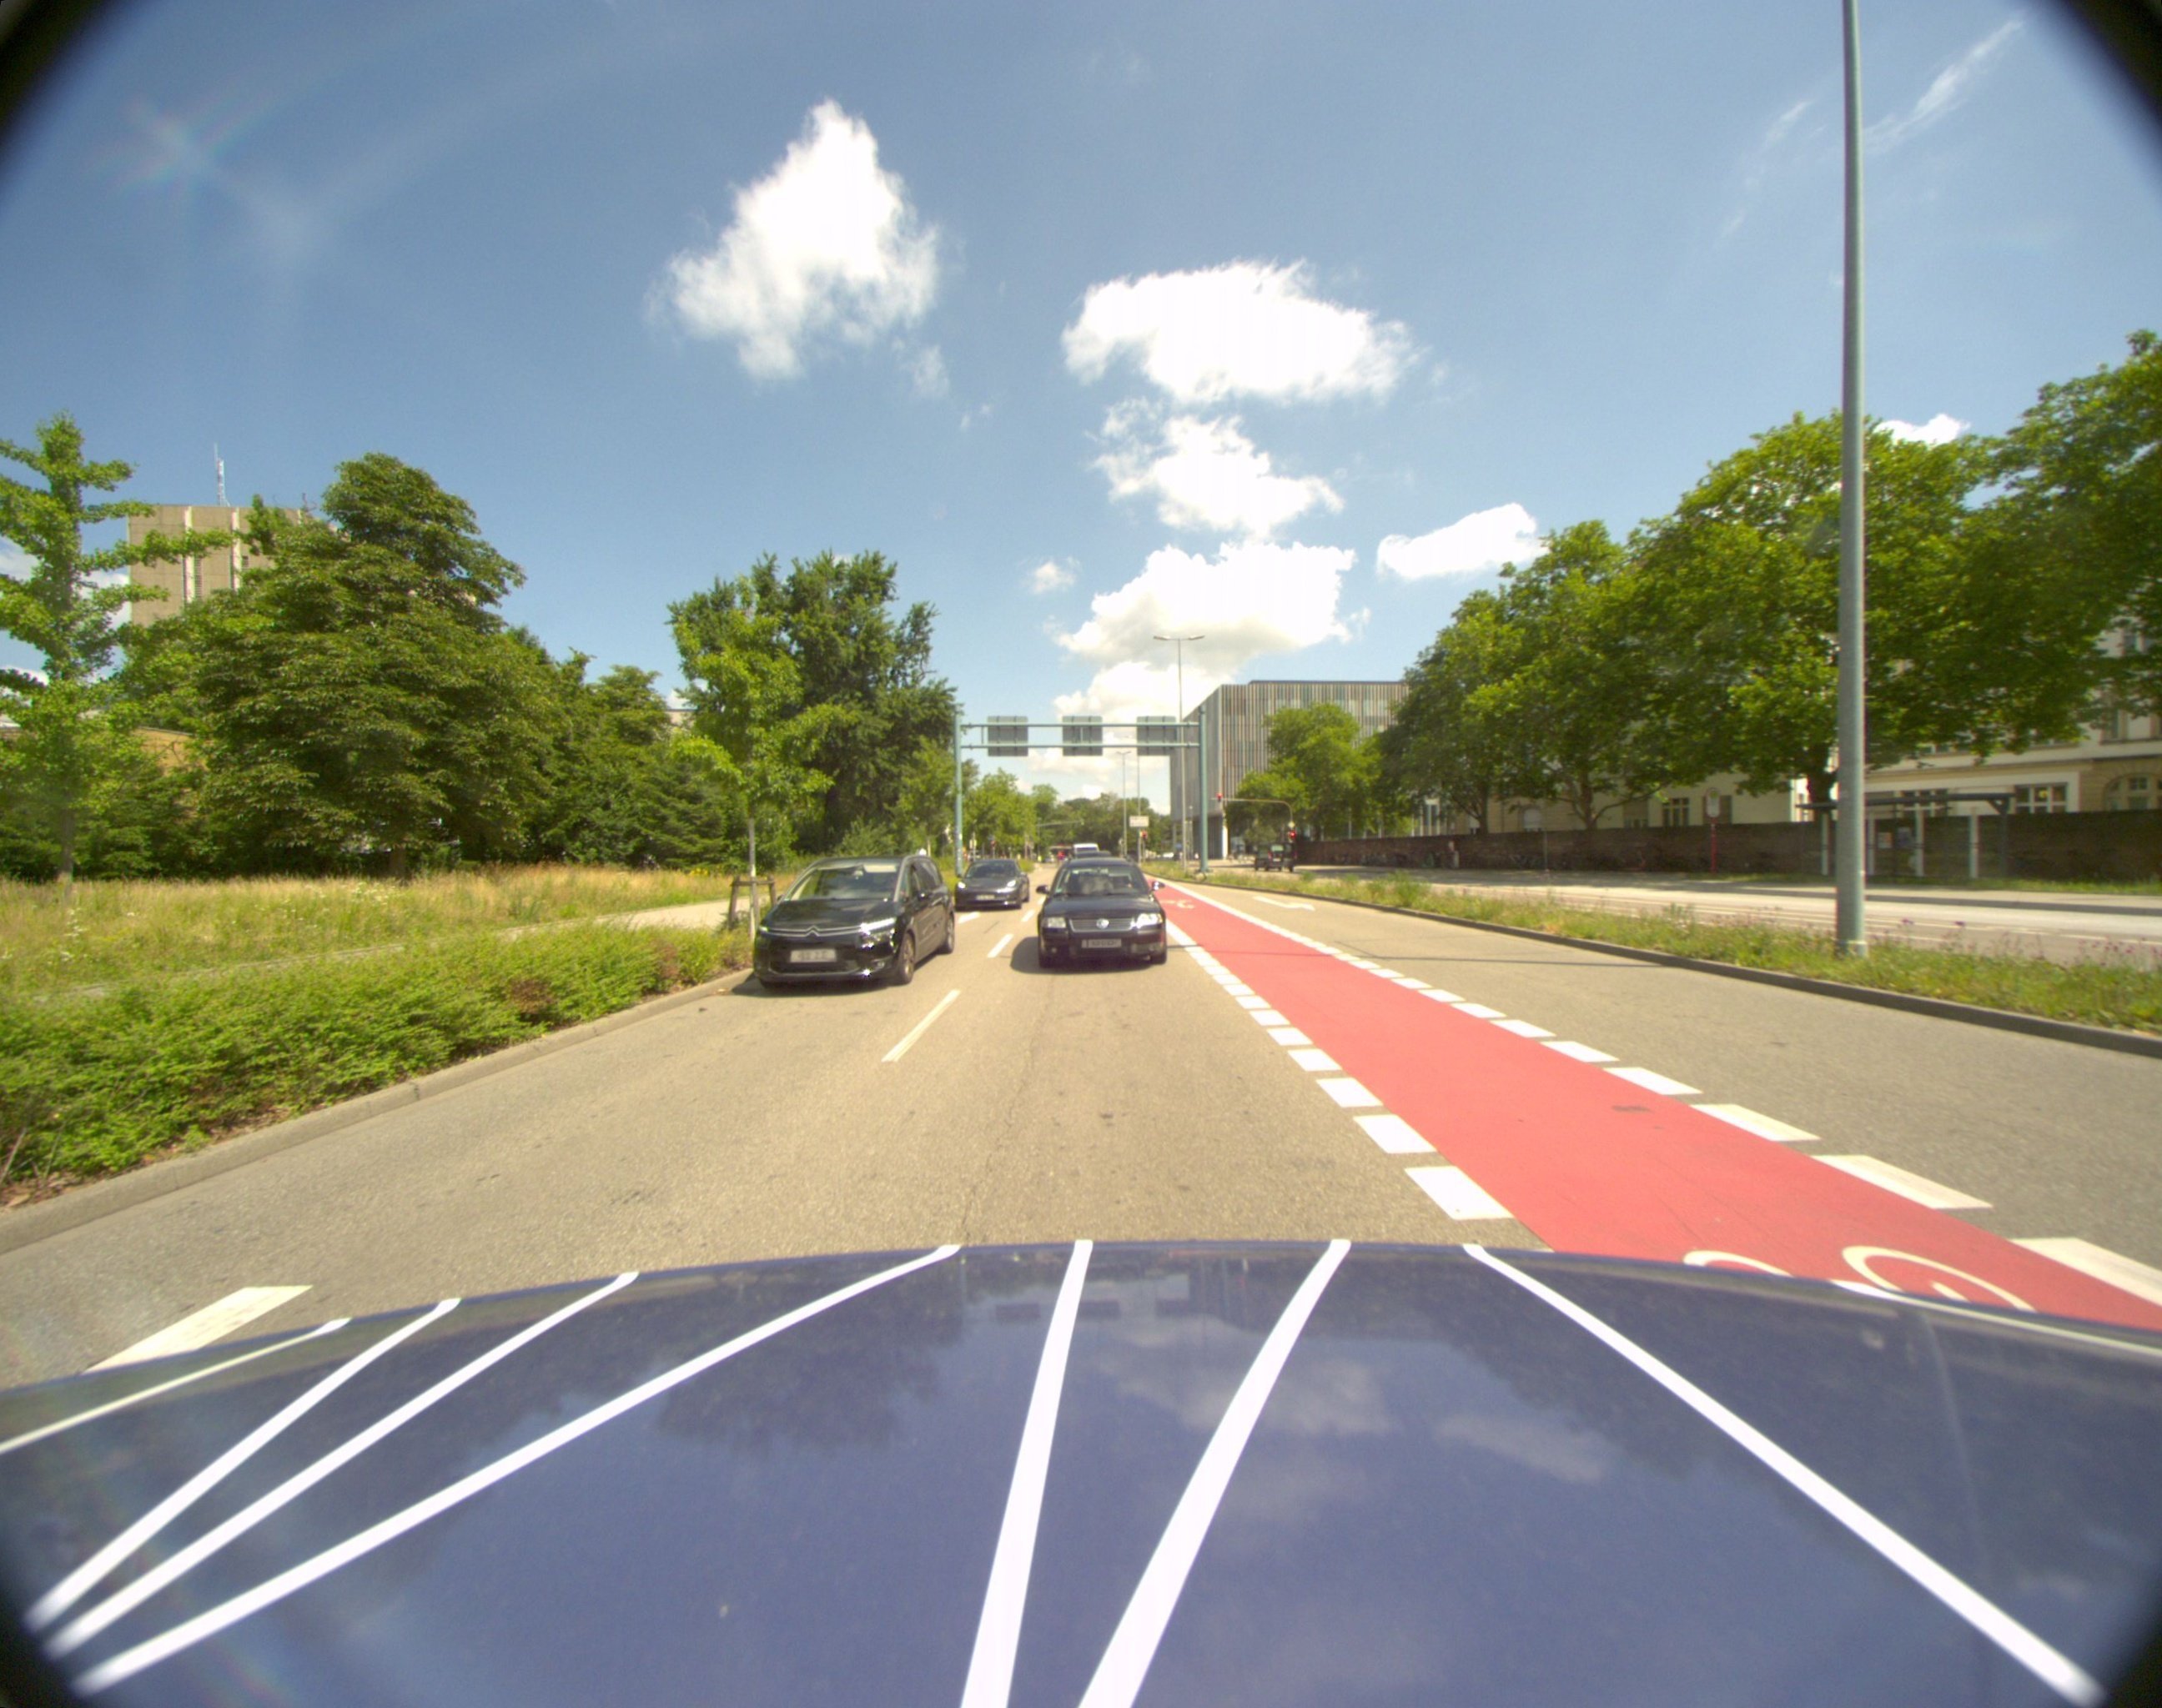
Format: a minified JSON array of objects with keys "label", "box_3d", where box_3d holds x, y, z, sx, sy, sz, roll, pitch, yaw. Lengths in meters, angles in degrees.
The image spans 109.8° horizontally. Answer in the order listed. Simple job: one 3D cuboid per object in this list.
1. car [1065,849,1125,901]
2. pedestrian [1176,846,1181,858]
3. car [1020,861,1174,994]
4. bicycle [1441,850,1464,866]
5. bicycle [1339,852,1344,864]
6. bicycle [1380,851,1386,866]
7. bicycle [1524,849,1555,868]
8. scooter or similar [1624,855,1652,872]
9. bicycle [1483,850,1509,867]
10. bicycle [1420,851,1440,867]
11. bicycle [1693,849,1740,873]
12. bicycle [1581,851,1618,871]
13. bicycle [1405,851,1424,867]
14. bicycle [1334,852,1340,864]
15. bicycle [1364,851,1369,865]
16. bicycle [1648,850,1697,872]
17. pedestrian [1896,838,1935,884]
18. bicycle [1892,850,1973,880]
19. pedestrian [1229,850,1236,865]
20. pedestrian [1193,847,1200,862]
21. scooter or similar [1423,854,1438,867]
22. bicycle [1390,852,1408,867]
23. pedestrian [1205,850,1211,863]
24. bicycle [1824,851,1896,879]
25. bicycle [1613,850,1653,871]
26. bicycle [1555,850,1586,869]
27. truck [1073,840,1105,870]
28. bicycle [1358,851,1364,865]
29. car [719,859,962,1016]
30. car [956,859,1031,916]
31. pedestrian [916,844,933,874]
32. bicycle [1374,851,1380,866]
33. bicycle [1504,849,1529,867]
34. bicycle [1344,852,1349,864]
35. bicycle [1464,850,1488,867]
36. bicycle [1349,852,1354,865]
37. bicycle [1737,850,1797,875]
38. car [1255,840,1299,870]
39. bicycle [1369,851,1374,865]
[{"label":"car","box_3d":[0.442,0.627,25.329,1.751,1.496,4.520,-3,0,0]},{"label":"pedestrian","box_3d":[16.247,-0.358,126.527,0.715,1.906,0.807,-2,2,-5]},{"label":"car","box_3d":[0.232,0.892,11.231,1.751,1.426,4.520,-3,0,1]},{"label":"bicycle","box_3d":[24.516,0.252,50.127,0.383,1.037,1.668,-1,1,-12]},{"label":"bicycle","box_3d":[22.207,0.333,64.769,0.329,1.012,1.673,0,1,21]},{"label":"bicycle","box_3d":[23.118,0.345,58.178,0.382,1.101,1.673,0,1,21]},{"label":"bicycle","box_3d":[26.127,0.255,43.332,0.398,1.037,1.759,-1,1,-14]},{"label":"scooter or similar","box_3d":[27.110,0.451,36.989,0.353,0.789,1.067,-1,1,-25]},{"label":"bicycle","box_3d":[25.359,0.262,46.430,0.383,1.037,1.668,-1,1,-12]},{"label":"bicycle","box_3d":[24.194,0.328,52.706,0.383,1.101,1.668,-1,1,-12]},{"label":"bicycle","box_3d":[28.646,0.319,34.267,0.398,1.037,1.637,-1,1,-19]},{"label":"bicycle","box_3d":[27.055,0.341,39.688,0.398,0.998,1.759,-1,1,-14]},{"label":"bicycle","box_3d":[23.867,0.353,54.388,0.383,1.101,1.668,-1,1,-11]},{"label":"bicycle","box_3d":[22.071,0.323,65.499,0.329,1.012,1.673,0,1,21]},{"label":"bicycle","box_3d":[22.762,0.317,60.610,0.382,1.101,1.673,0,1,21]},{"label":"bicycle","box_3d":[28.046,0.311,36.047,0.398,1.037,1.955,-1,1,-17]},{"label":"pedestrian","box_3d":[29.561,0.230,26.931,0.724,1.602,0.779,-1,1,-29]},{"label":"bicycle","box_3d":[30.826,0.384,27.551,0.398,1.037,1.954,-1,1,-19]},{"label":"pedestrian","box_3d":[19.420,0.445,97.393,0.715,1.906,0.807,-2,2,-5]},{"label":"pedestrian","box_3d":[15.502,0.073,101.920,0.632,1.907,0.718,-2,2,-3]},{"label":"scooter or similar","box_3d":[23.703,0.444,51.484,0.353,0.838,1.068,-1,1,-13]},{"label":"bicycle","box_3d":[23.594,0.371,56.401,0.383,1.101,1.669,-1,1,-9]},{"label":"pedestrian","box_3d":[20.062,0.404,120.054,0.825,1.906,0.807,-2,2,-5]},{"label":"bicycle","box_3d":[30.181,0.400,29.478,0.398,1.037,1.954,-1,1,-19]},{"label":"bicycle","box_3d":[27.512,0.313,37.924,0.398,1.037,1.759,-1,1,-15]},{"label":"bicycle","box_3d":[26.632,0.291,41.371,0.398,1.037,1.581,-1,1,-14]},{"label":"truck","box_3d":[0.614,0.059,63.408,2.462,2.287,5.815,-3,0,0]},{"label":"bicycle","box_3d":[22.500,0.319,61.047,0.382,1.101,1.673,0,1,21]},{"label":"car","box_3d":[-3.011,0.937,10.653,1.863,1.613,4.520,-3,0,0]},{"label":"car","box_3d":[-2.512,0.919,22.691,1.766,1.409,4.362,-3,0,-2]},{"label":"pedestrian","box_3d":[-9.636,0.298,46.815,0.844,1.755,0.841,-2,2,0]},{"label":"bicycle","box_3d":[22.978,0.336,58.934,0.382,1.101,1.673,0,1,21]},{"label":"bicycle","box_3d":[25.739,0.252,44.900,0.377,1.037,1.415,-1,1,-14]},{"label":"bicycle","box_3d":[22.343,0.346,63.841,0.329,1.012,1.673,0,1,21]},{"label":"bicycle","box_3d":[25.022,0.271,48.164,0.383,1.037,1.668,-1,1,-12]},{"label":"bicycle","box_3d":[22.452,0.351,63.128,0.329,1.012,1.673,0,1,21]},{"label":"bicycle","box_3d":[29.263,0.335,32.467,0.398,1.037,1.954,-1,1,-19]},{"label":"car","box_3d":[14.494,0.072,56.460,2.214,2.158,4.520,0,0,1]},{"label":"bicycle","box_3d":[22.872,0.328,59.795,0.382,1.101,1.673,0,1,21]}]
